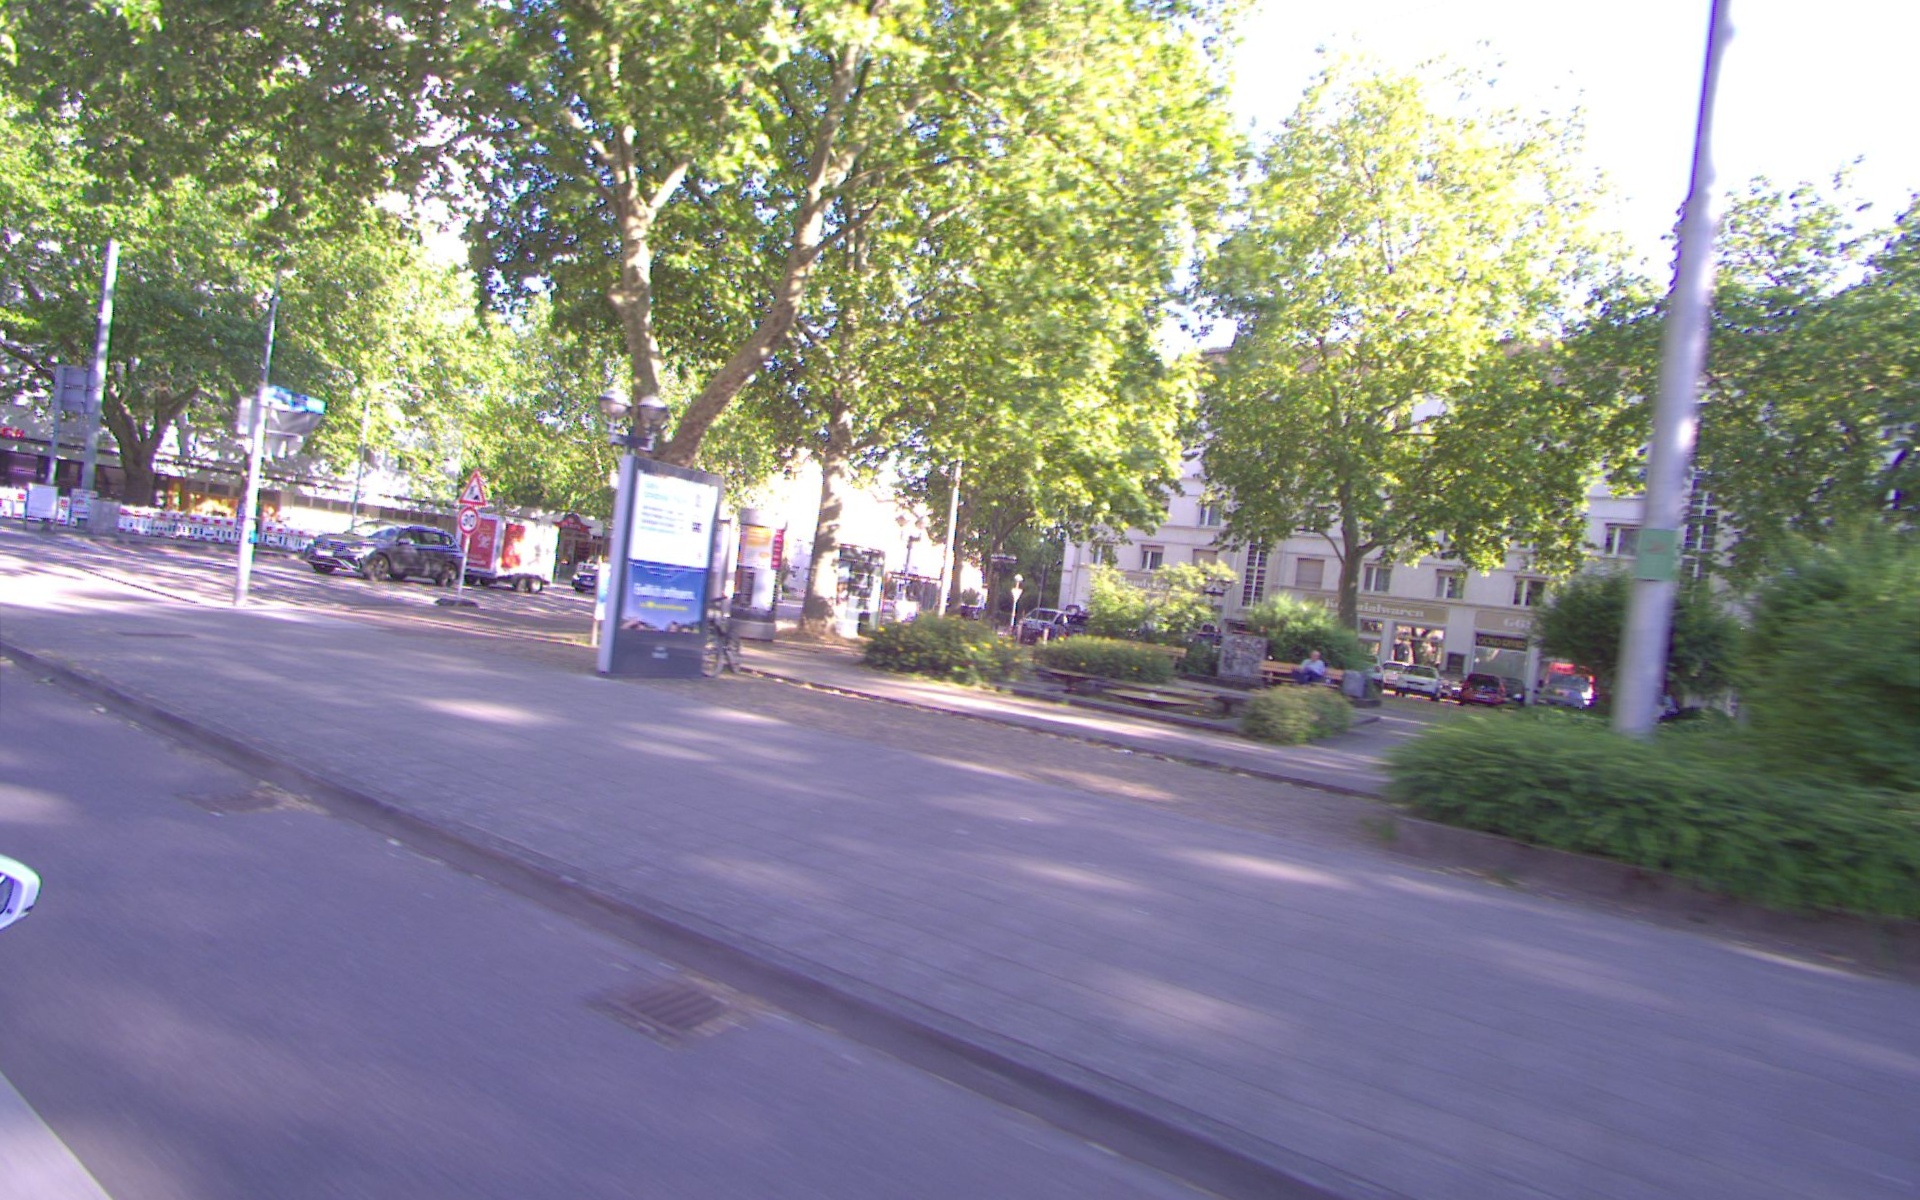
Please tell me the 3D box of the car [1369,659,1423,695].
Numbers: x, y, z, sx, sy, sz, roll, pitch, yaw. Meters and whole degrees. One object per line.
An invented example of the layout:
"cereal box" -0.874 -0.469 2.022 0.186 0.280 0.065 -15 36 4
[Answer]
"car" 22.667 3.950 52.247 1.750 1.500 4.339 7 2 33

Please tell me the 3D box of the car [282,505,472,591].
"car" -16.063 -1.370 28.074 1.899 1.658 4.586 8 -2 11

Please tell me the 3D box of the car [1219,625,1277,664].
"car" 15.988 2.447 55.694 1.733 1.895 4.339 7 2 33

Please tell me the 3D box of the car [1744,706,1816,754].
"car" 35.199 5.545 43.263 1.750 1.500 4.339 7 2 33

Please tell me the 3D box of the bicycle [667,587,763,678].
"bicycle" -3.204 0.429 13.331 0.525 1.066 1.826 8 -1 6

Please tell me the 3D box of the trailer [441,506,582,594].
"trailer" -14.980 -1.599 33.934 1.877 2.402 4.518 8 0 11

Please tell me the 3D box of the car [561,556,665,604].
"car" -13.920 -0.761 40.622 1.899 1.376 4.444 8 -2 11

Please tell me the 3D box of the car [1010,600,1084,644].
"car" 4.401 1.125 50.350 1.733 1.895 4.339 7 2 33

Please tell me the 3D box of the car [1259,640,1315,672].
"car" 17.703 3.005 54.360 1.733 1.500 4.339 7 2 33

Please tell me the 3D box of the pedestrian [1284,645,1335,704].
"pedestrian" 8.300 1.779 23.896 0.777 1.254 1.140 7 -1 32

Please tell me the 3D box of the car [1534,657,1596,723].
"car" 29.022 4.216 48.183 2.132 2.702 5.052 7 2 33

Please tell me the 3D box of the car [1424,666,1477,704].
"car" 24.597 4.222 50.371 1.750 1.500 4.339 7 2 33

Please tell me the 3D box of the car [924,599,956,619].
"car" -1.833 0.854 93.697 1.899 1.376 4.444 8 -2 11
